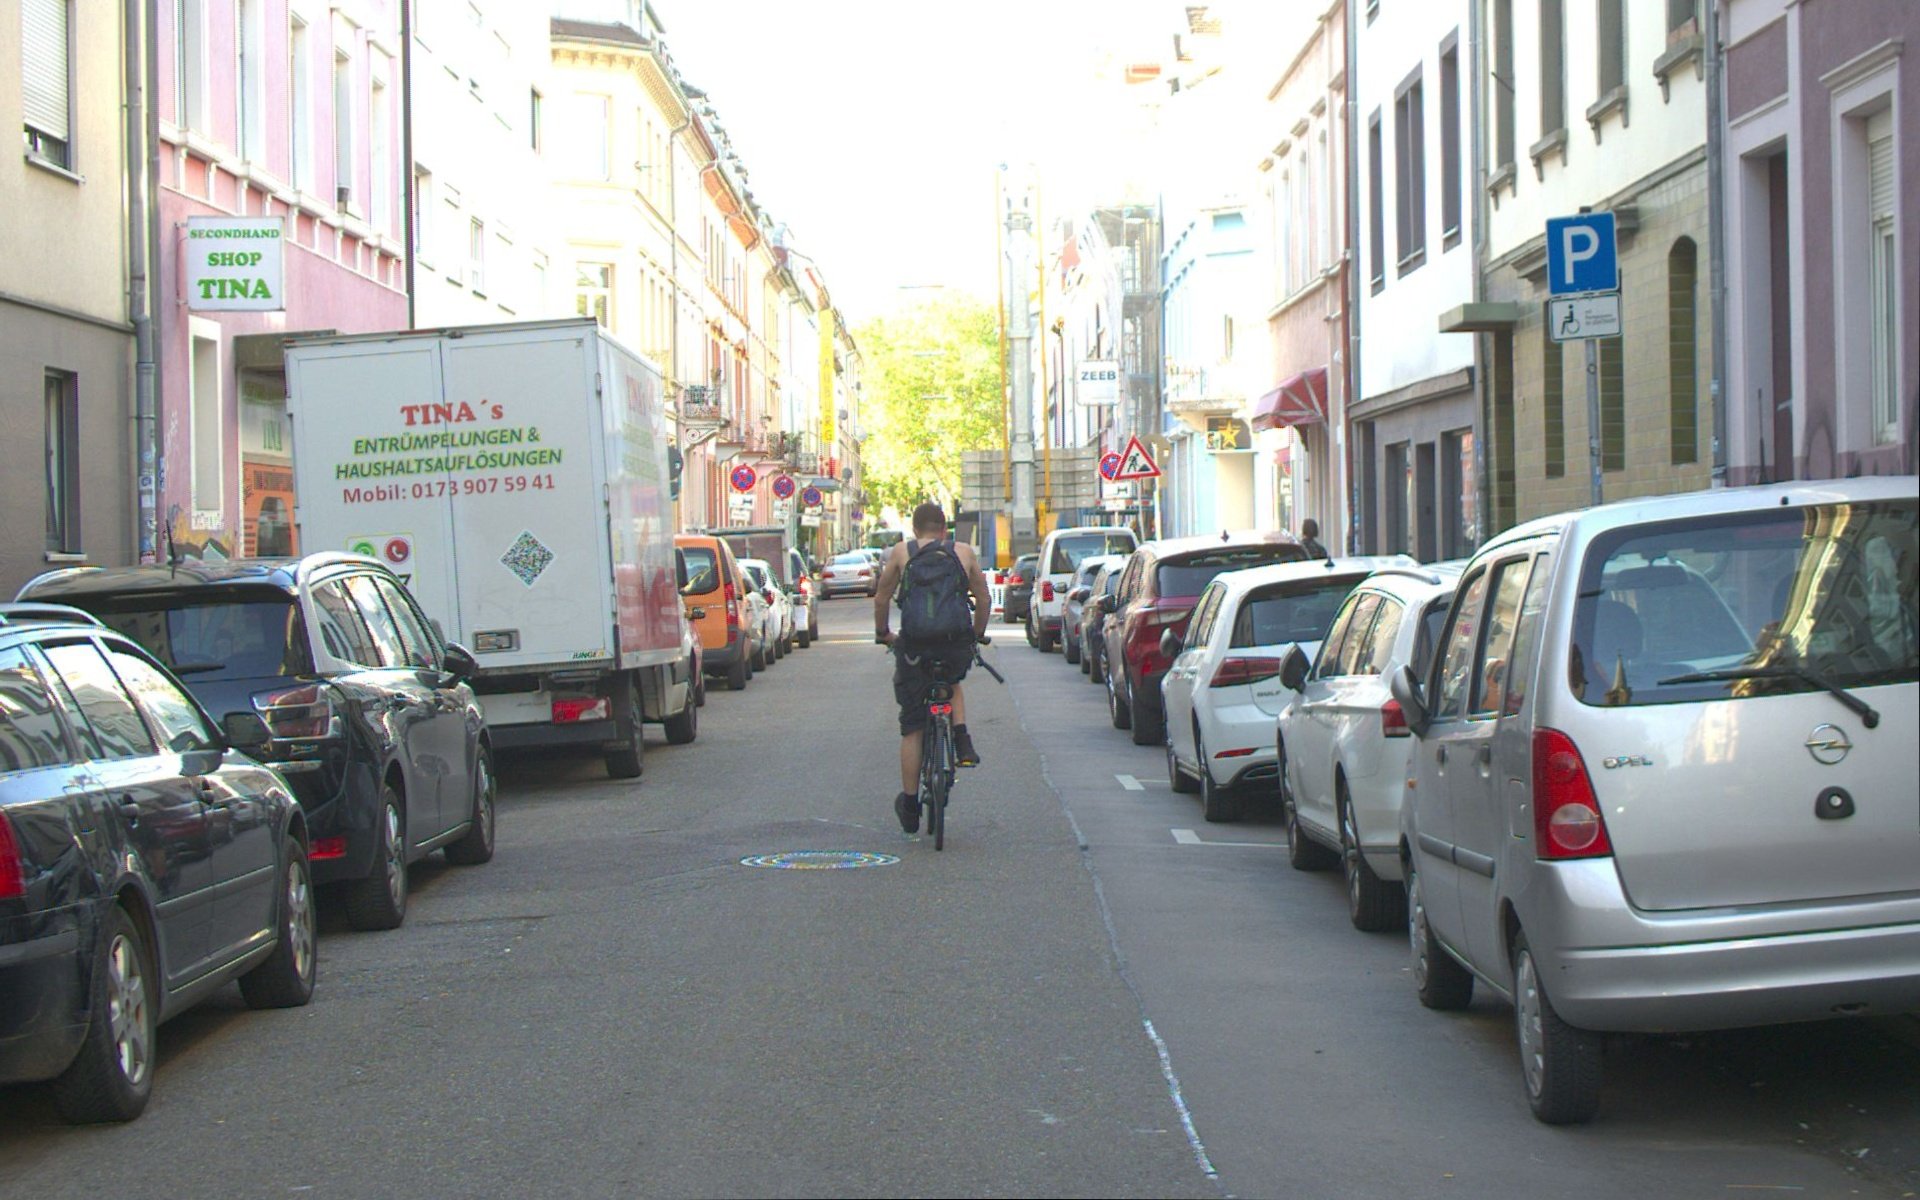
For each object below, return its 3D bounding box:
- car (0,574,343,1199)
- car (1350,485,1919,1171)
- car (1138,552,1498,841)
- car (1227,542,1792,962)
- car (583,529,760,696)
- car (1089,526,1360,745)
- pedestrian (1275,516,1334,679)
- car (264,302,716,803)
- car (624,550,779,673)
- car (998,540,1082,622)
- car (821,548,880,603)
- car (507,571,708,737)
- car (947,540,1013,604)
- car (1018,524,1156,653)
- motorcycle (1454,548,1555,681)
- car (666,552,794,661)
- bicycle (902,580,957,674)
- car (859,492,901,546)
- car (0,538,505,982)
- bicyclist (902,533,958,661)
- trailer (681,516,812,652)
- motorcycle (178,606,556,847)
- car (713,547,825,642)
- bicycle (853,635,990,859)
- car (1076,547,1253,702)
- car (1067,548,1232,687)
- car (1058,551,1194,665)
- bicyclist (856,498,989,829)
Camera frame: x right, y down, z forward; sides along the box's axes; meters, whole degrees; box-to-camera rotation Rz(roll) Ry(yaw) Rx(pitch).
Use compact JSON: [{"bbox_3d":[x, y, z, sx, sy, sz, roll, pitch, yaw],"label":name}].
[{"bbox_3d":[-3.150,0.755,10.422,1.716,1.473,4.499,-3,2,-1],"label":"car"},{"bbox_3d":[2.177,0.558,10.348,1.556,1.706,3.559,0,0,-1],"label":"car"},{"bbox_3d":[2.105,0.524,21.207,1.686,1.538,4.046,-3,0,-1],"label":"car"},{"bbox_3d":[2.296,0.570,15.547,1.697,1.538,4.629,-3,0,-1],"label":"car"},{"bbox_3d":[-3.383,0.131,40.919,1.752,1.810,4.078,-3,0,-1],"label":"car"},{"bbox_3d":[2.170,0.243,29.313,1.918,1.700,4.366,-1,1,0],"label":"car"},{"bbox_3d":[4.283,-0.030,42.770,0.644,2.007,0.764,0,0,0],"label":"pedestrian"},{"bbox_3d":[-3.427,-0.346,26.792,2.343,3.280,7.154,-3,0,0],"label":"car"},{"bbox_3d":[-3.450,0.133,46.532,1.750,1.532,4.319,-2,0,0],"label":"car"},{"bbox_3d":[1.624,-0.389,70.722,1.611,1.628,3.610,0,0,0],"label":"car"},{"bbox_3d":[-3.483,-0.790,109.595,1.750,1.678,3.796,-2,0,0],"label":"car"},{"bbox_3d":[-3.465,0.496,34.314,1.578,1.478,3.565,-4,0,0],"label":"car"},{"bbox_3d":[0.477,-0.702,86.533,1.611,1.555,3.610,0,0,0],"label":"car"},{"bbox_3d":[1.921,-0.183,52.947,1.750,1.872,3.973,-2,0,-3],"label":"car"},{"bbox_3d":[4.709,0.114,29.808,0.501,1.091,1.878,-3,0,0],"label":"motorcycle"},{"bbox_3d":[-3.419,0.078,51.607,1.653,1.532,3.634,-2,0,0],"label":"car"},{"bbox_3d":[-0.376,0.317,42.361,0.648,1.126,2.136,0,0,0],"label":"bicycle"},{"bbox_3d":[-3.615,-3.663,156.005,1.750,2.310,3.796,-2,0,0],"label":"car"},{"bbox_3d":[-3.266,0.611,15.883,1.716,1.644,4.246,-3,2,-1],"label":"car"},{"bbox_3d":[-0.371,-0.035,42.354,0.671,1.562,0.716,0,0,-1],"label":"bicyclist"},{"bbox_3d":[-3.457,-0.264,56.223,1.882,2.085,3.737,-2,0,0],"label":"trailer"},{"bbox_3d":[-3.456,0.717,20.196,0.791,1.248,2.102,-2,1,41],"label":"motorcycle"},{"bbox_3d":[-3.331,-0.108,60.495,1.750,1.567,3.796,-2,0,0],"label":"car"},{"bbox_3d":[-0.202,0.738,18.014,0.677,1.071,1.942,0,0,-1],"label":"bicycle"},{"bbox_3d":[2.177,0.237,37.405,1.667,1.500,3.816,-4,0,1],"label":"car"},{"bbox_3d":[2.245,0.191,41.651,1.646,1.470,3.971,-5,0,0],"label":"car"},{"bbox_3d":[2.273,0.093,47.884,1.750,1.481,3.799,-2,0,1],"label":"car"},{"bbox_3d":[-0.197,0.318,17.956,0.667,1.671,1.097,0,0,-1],"label":"bicyclist"}]
